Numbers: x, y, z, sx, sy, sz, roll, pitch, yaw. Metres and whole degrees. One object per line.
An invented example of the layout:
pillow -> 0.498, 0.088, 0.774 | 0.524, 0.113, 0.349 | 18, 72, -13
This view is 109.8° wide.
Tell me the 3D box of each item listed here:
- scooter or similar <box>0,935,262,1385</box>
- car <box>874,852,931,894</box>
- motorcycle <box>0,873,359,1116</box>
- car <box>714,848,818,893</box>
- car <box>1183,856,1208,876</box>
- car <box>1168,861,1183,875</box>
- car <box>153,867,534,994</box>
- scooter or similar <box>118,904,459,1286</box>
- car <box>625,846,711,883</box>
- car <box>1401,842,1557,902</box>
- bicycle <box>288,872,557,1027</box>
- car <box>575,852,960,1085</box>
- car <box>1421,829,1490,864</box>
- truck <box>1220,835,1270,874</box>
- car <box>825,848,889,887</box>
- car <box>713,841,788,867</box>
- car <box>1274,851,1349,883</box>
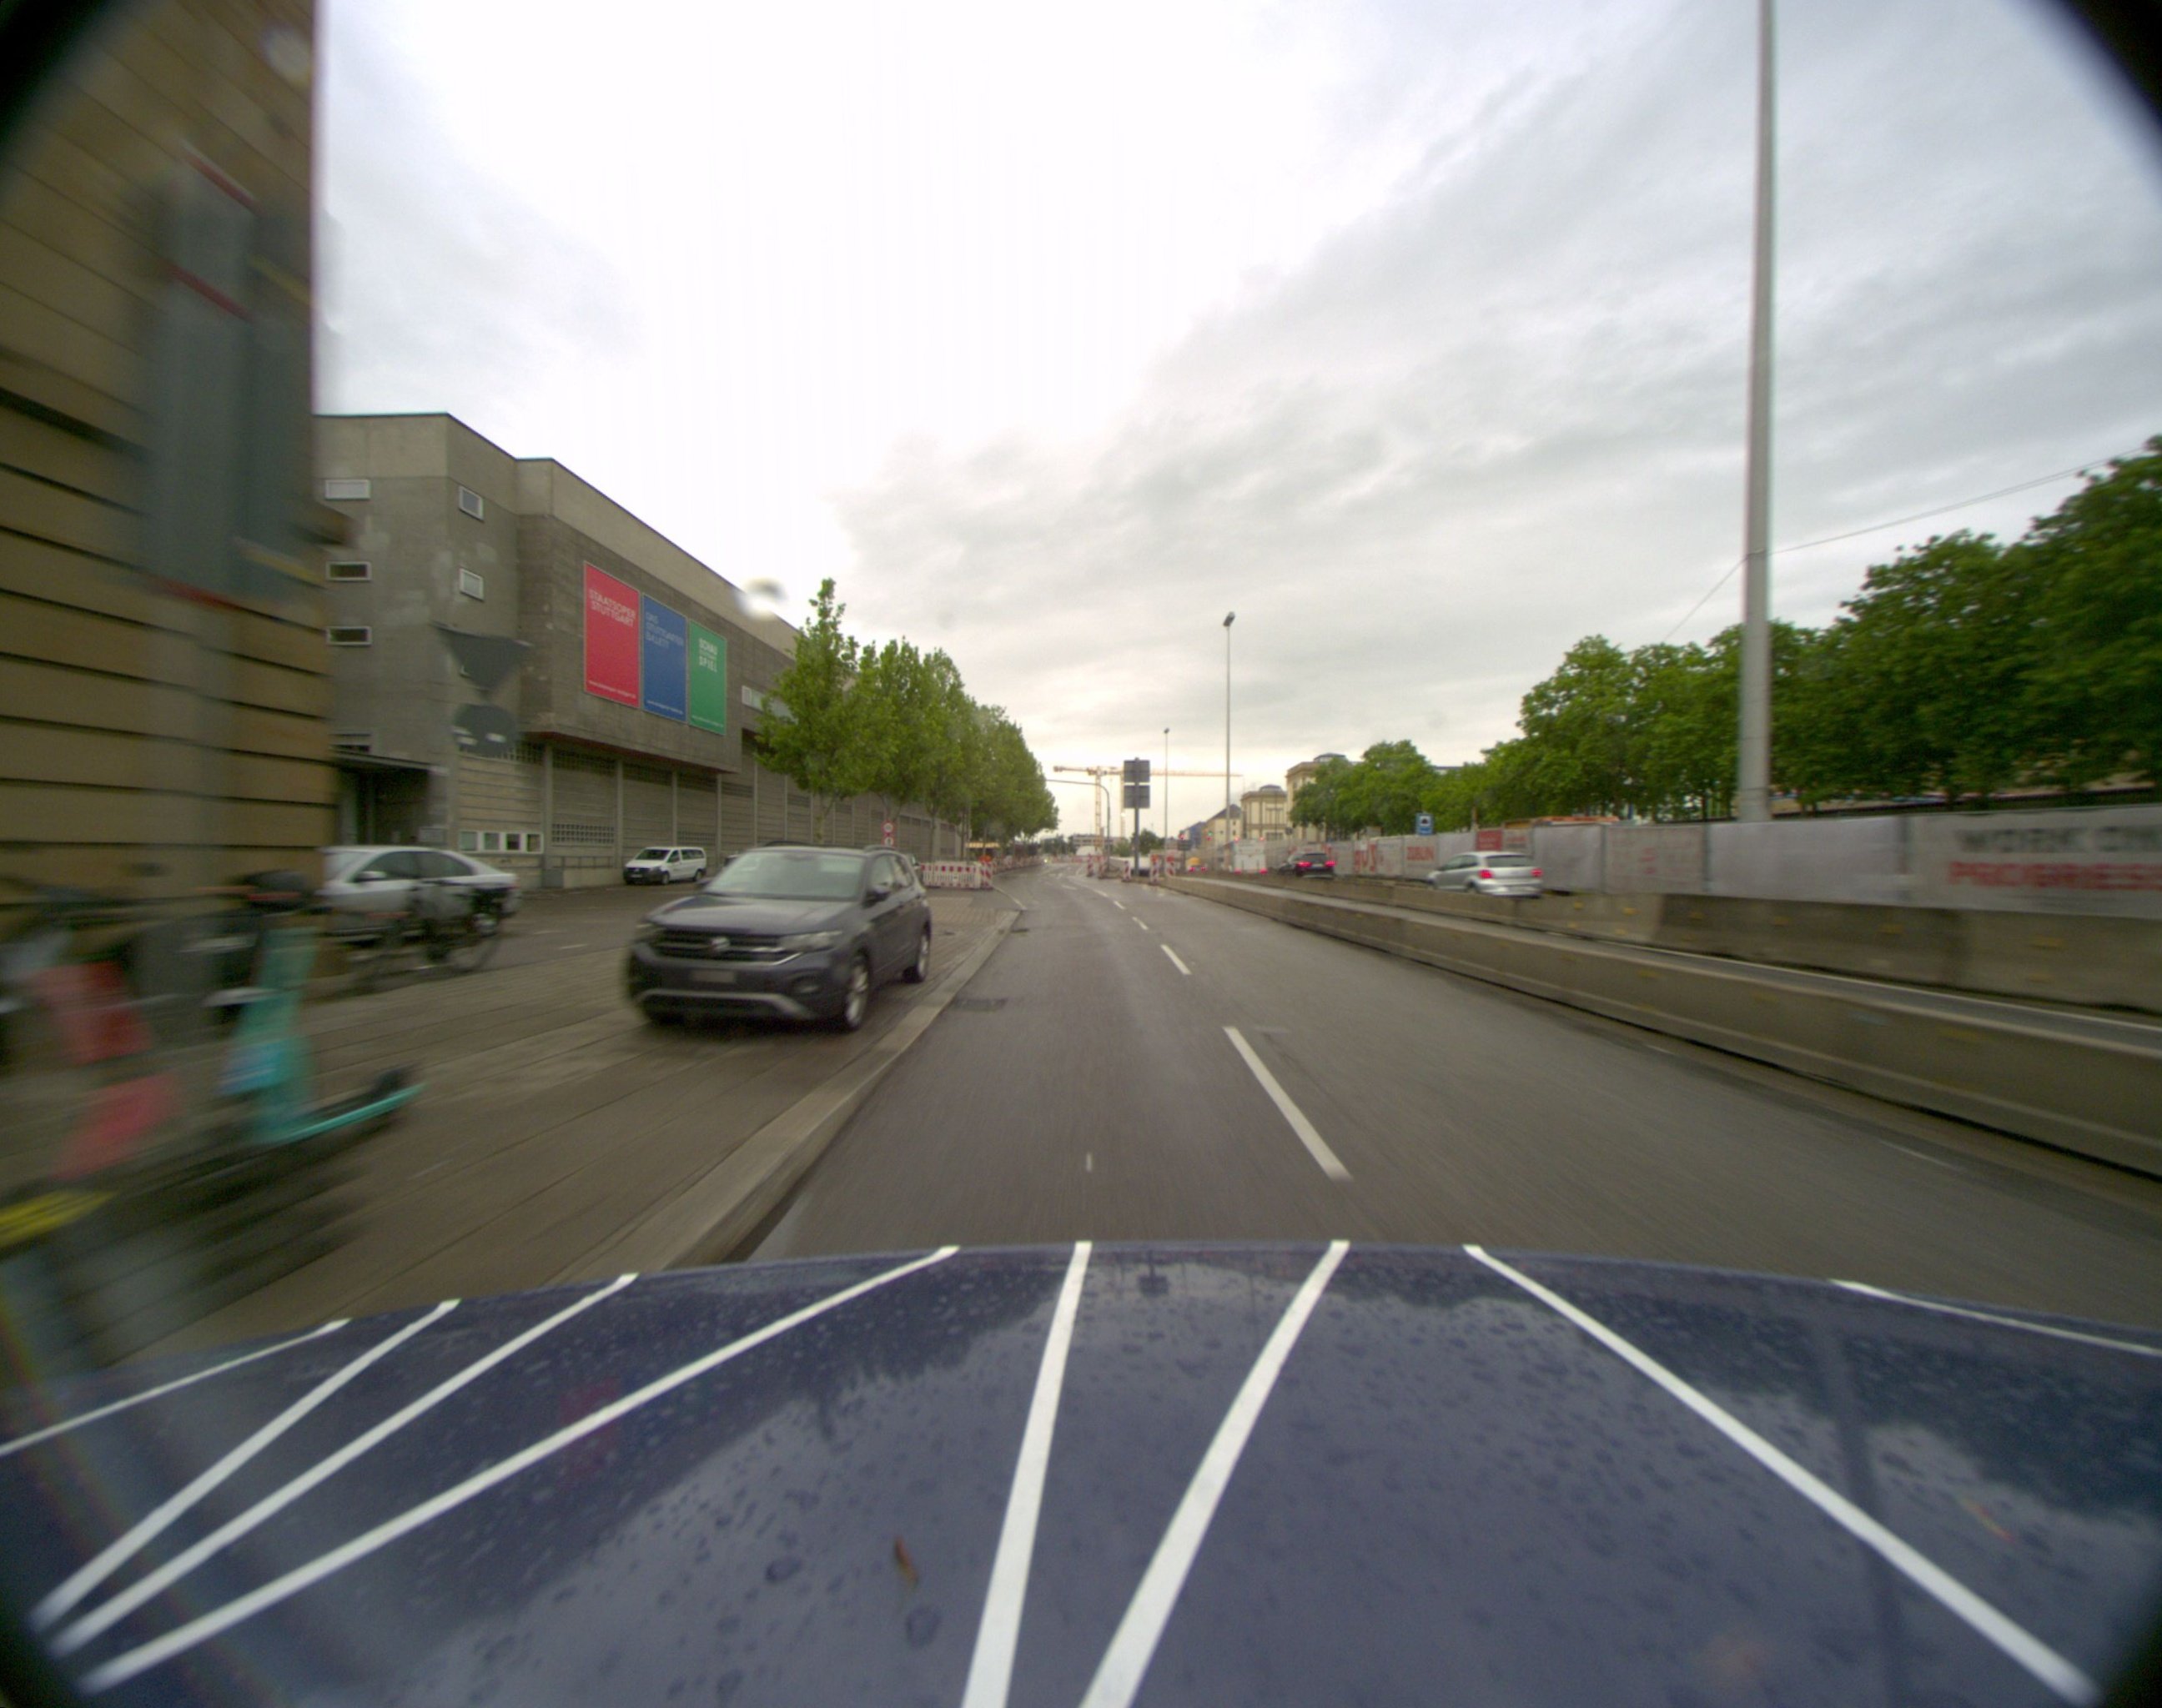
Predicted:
scooter or similar -> -3.327, 0.924, 2.318 | 0.434, 1.210, 1.122 | 2, 1, 0
car -> -7.077, 0.705, 30.476 | 1.692, 1.486, 3.618 | 0, 1, -5
motorcycle -> -6.249, 0.815, 5.179 | 0.808, 1.291, 1.799 | 0, 1, 6
car -> -12.973, 0.747, 31.630 | 1.958, 1.673, 4.497 | -2, -3, 8
car -> 12.391, 1.251, 82.660 | 1.913, 2.002, 4.757 | 1, 1, 0
car -> 12.829, 1.862, 103.259 | 1.704, 1.857, 3.357 | 1, 1, 0
car -> -10.425, 0.964, 11.269 | 1.524, 1.402, 4.127 | 0, 1, 2
scooter or similar -> -3.334, 0.914, 3.320 | 0.435, 1.312, 1.076 | -1, 1, -8
car -> -21.054, 0.489, 38.988 | 1.777, 1.777, 4.883 | 1, 1, 0
car -> 10.889, 0.458, 21.158 | 1.999, 1.521, 3.998 | 0, 0, -5
bicycle -> -6.545, 0.879, 7.748 | 1.105, 1.309, 1.858 | -1, 1, -1
car -> -2.572, 0.802, 7.556 | 1.876, 1.609, 4.405 | 1, 0, 2
car -> 22.226, -0.404, 45.347 | 1.998, 2.001, 4.718 | 0, 0, 3
truck -> 11.937, 0.063, 55.992 | 2.403, 2.703, 7.356 | 0, 0, 2
car -> -9.411, 0.527, 32.091 | 1.584, 1.528, 3.022 | 1, 1, 4
car -> -20.392, -0.012, 46.937 | 3.847, 1.570, 1.779 | 1, 1, 2
car -> 11.459, 0.610, 38.133 | 1.926, 1.521, 4.758 | 0, 0, -5
